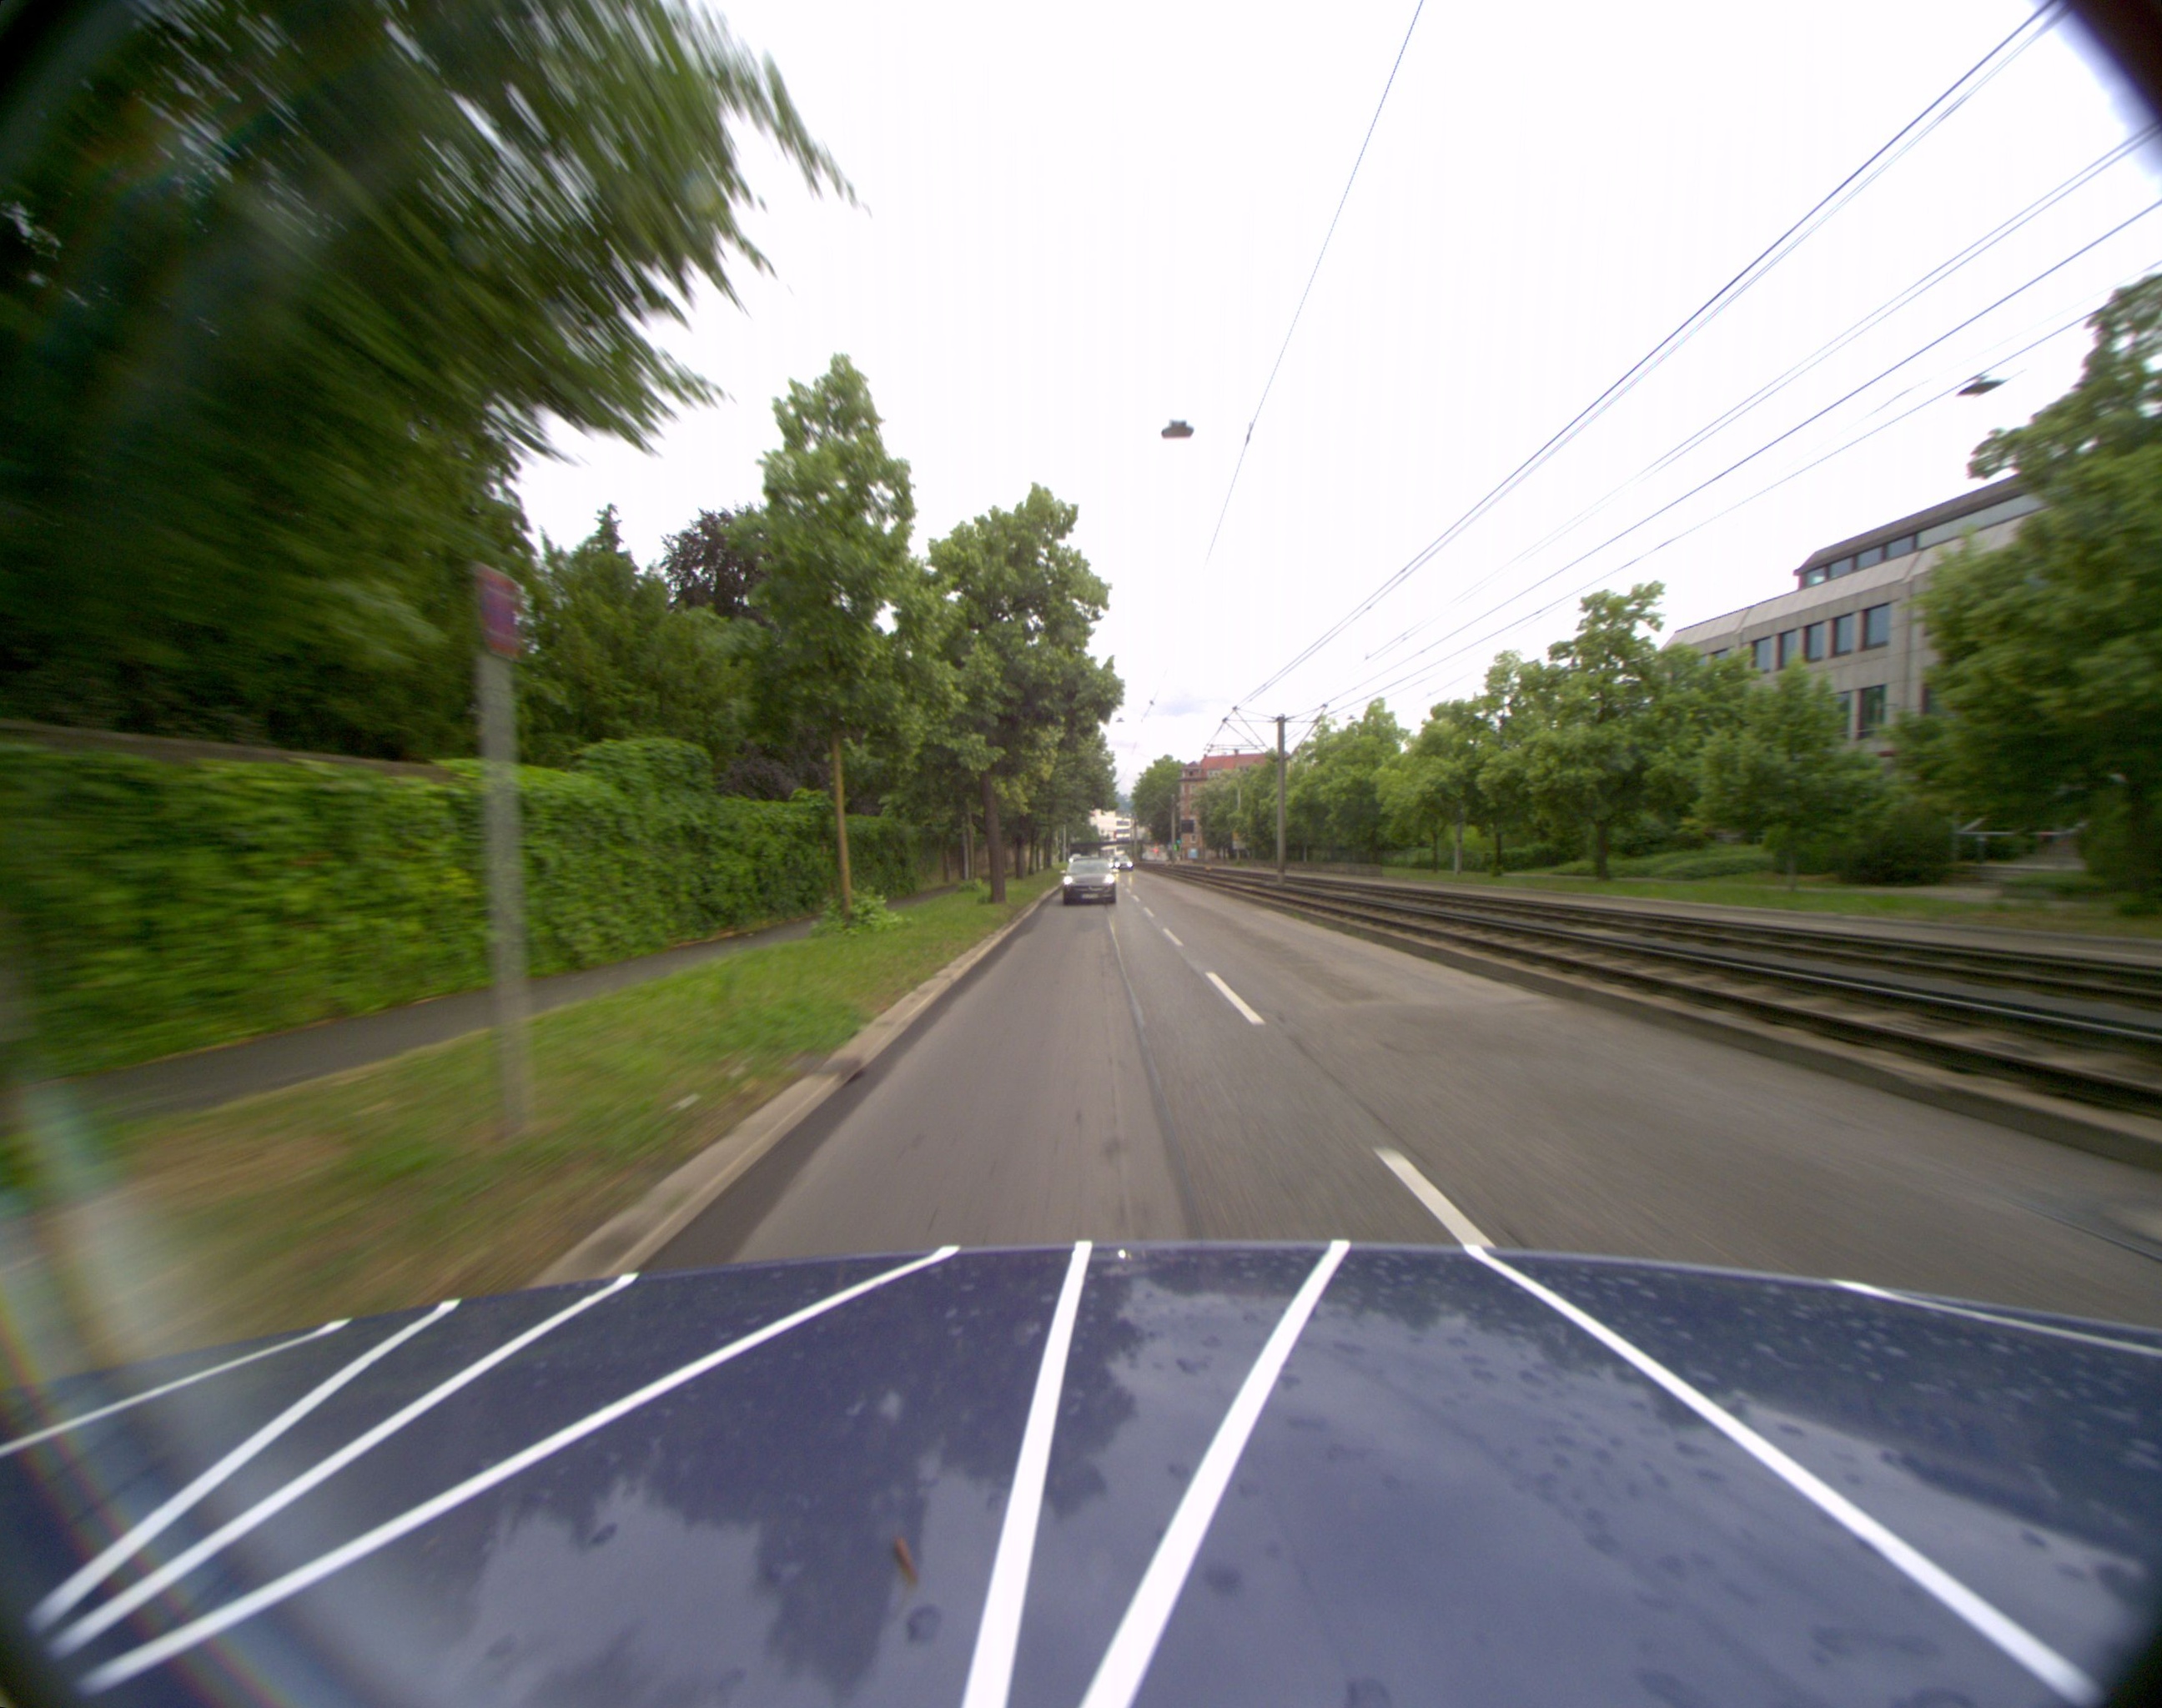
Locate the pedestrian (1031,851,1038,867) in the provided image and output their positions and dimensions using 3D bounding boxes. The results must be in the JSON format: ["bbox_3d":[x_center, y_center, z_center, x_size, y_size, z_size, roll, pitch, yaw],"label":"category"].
[{"bbox_3d":[-5.086,0.527,82.540,0.710,1.769,0.901,-1,0,-2],"label":"pedestrian"}]

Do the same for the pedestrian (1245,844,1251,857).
[{"bbox_3d":[25.355,-0.499,115.273,0.597,1.892,0.654,-2,1,-2],"label":"pedestrian"}]

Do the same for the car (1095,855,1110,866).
[{"bbox_3d":[3.517,1.042,126.426,1.999,1.801,3.998,-2,0,-6],"label":"car"}]

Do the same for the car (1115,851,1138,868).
[{"bbox_3d":[4.127,0.460,69.252,1.806,1.483,4.102,0,0,0],"label":"car"}]

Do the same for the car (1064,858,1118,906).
[{"bbox_3d":[0.319,0.886,25.550,1.658,1.483,3.829,0,0,0],"label":"car"}]

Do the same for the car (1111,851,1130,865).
[{"bbox_3d":[4.357,0.404,83.865,1.807,1.483,4.102,-1,0,-1],"label":"car"}]

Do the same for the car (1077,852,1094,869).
[{"bbox_3d":[0.565,0.785,94.976,1.998,2.002,4.000,-2,0,1],"label":"car"}]
